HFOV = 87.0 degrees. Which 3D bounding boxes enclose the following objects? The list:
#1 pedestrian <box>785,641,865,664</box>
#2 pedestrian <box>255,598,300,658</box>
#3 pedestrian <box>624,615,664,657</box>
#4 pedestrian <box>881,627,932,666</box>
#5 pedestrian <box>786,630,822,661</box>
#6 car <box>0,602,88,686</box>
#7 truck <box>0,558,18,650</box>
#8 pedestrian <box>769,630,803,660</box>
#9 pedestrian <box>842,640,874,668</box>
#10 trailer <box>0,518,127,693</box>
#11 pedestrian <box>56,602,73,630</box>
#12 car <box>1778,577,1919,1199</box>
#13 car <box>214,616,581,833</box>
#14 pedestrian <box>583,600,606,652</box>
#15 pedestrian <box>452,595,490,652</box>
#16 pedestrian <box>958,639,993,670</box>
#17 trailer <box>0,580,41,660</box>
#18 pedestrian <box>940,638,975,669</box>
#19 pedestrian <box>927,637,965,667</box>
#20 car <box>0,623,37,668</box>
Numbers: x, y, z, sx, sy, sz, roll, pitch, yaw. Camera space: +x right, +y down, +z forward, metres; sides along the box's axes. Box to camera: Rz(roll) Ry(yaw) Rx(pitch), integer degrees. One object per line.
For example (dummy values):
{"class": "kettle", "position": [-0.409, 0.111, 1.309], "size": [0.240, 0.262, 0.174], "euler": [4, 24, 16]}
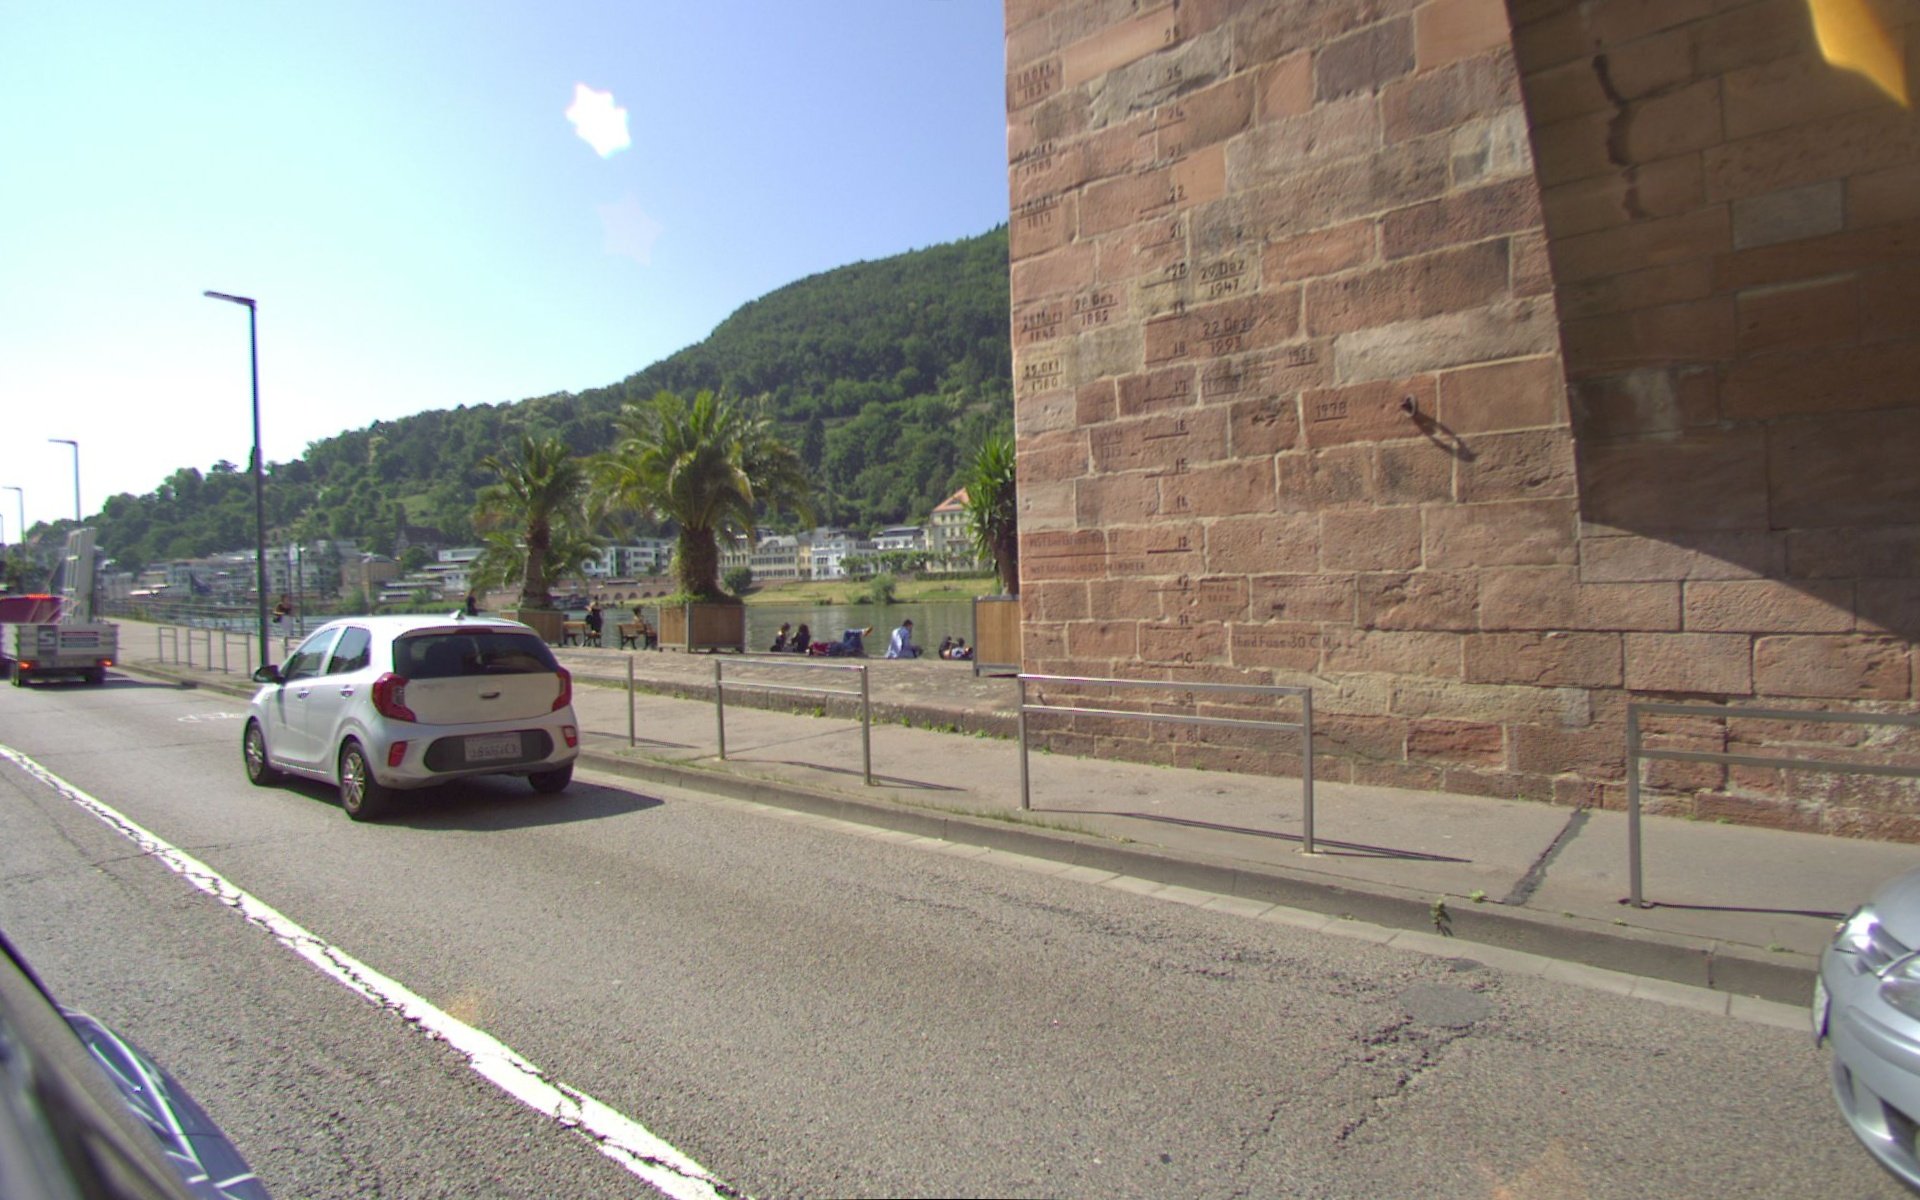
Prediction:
{"class": "pedestrian", "position": [-2.762, 1.065, 20.596], "size": [1.741, 0.425, 0.638], "euler": [-1, -2, 41]}
{"class": "pedestrian", "position": [-19.806, 0.794, 29.375], "size": [1.151, 1.714, 0.808], "euler": [0, 1, 41]}
{"class": "pedestrian", "position": [-8.862, 1.019, 28.387], "size": [0.930, 1.154, 0.508], "euler": [3, -3, -45]}
{"class": "pedestrian", "position": [-1.092, 0.932, 20.674], "size": [0.777, 0.748, 0.712], "euler": [-1, 0, -40]}
{"class": "pedestrian", "position": [-4.024, 1.172, 26.142], "size": [0.688, 0.747, 0.603], "euler": [-1, 0, -45]}
{"class": "car", "position": [-22.226, 0.998, 23.904], "size": [4.542, 1.841, 1.855], "euler": [-1, -2, 41]}
{"class": "truck", "position": [-39.685, 0.107, 40.338], "size": [7.872, 3.483, 2.613], "euler": [0, -1, 44]}
{"class": "pedestrian", "position": [-4.587, 1.176, 26.654], "size": [0.688, 0.747, 0.530], "euler": [-1, 0, -45]}
{"class": "pedestrian", "position": [-2.155, 1.133, 21.373], "size": [0.457, 0.568, 0.515], "euler": [5, -3, -40]}
{"class": "trailer", "position": [-18.867, 0.140, 21.143], "size": [3.383, 3.345, 1.723], "euler": [-1, -2, 42]}
{"class": "pedestrian", "position": [-54.682, 0.963, 61.787], "size": [0.703, 1.719, 0.846], "euler": [-1, 0, -44]}
{"class": "car", "position": [3.843, 0.666, 1.232], "size": [4.396, 1.447, 1.706], "euler": [-1, -2, 40]}
{"class": "car", "position": [-4.877, 0.866, 8.575], "size": [3.726, 1.447, 1.519], "euler": [-1, -2, 41]}
{"class": "pedestrian", "position": [-11.431, 0.807, 31.653], "size": [0.585, 1.613, 0.682], "euler": [-1, 0, -25]}
{"class": "pedestrian", "position": [-15.134, 0.717, 31.301], "size": [0.846, 1.704, 0.785], "euler": [-1, 0, 44]}
{"class": "pedestrian", "position": [0.309, 1.063, 19.759], "size": [0.537, 0.568, 0.415], "euler": [-1, 0, -36]}
{"class": "trailer", "position": [-33.600, 0.612, 34.593], "size": [6.948, 2.550, 2.668], "euler": [0, -1, 43]}
{"class": "pedestrian", "position": [-0.045, 1.046, 20.003], "size": [0.537, 0.568, 0.433], "euler": [-1, 0, -36]}
{"class": "pedestrian", "position": [-0.282, 1.043, 20.406], "size": [0.537, 0.568, 0.533], "euler": [-1, 0, -36]}
{"class": "car", "position": [-28.349, 1.298, 29.553], "size": [3.627, 1.203, 1.654], "euler": [0, -1, 41]}
